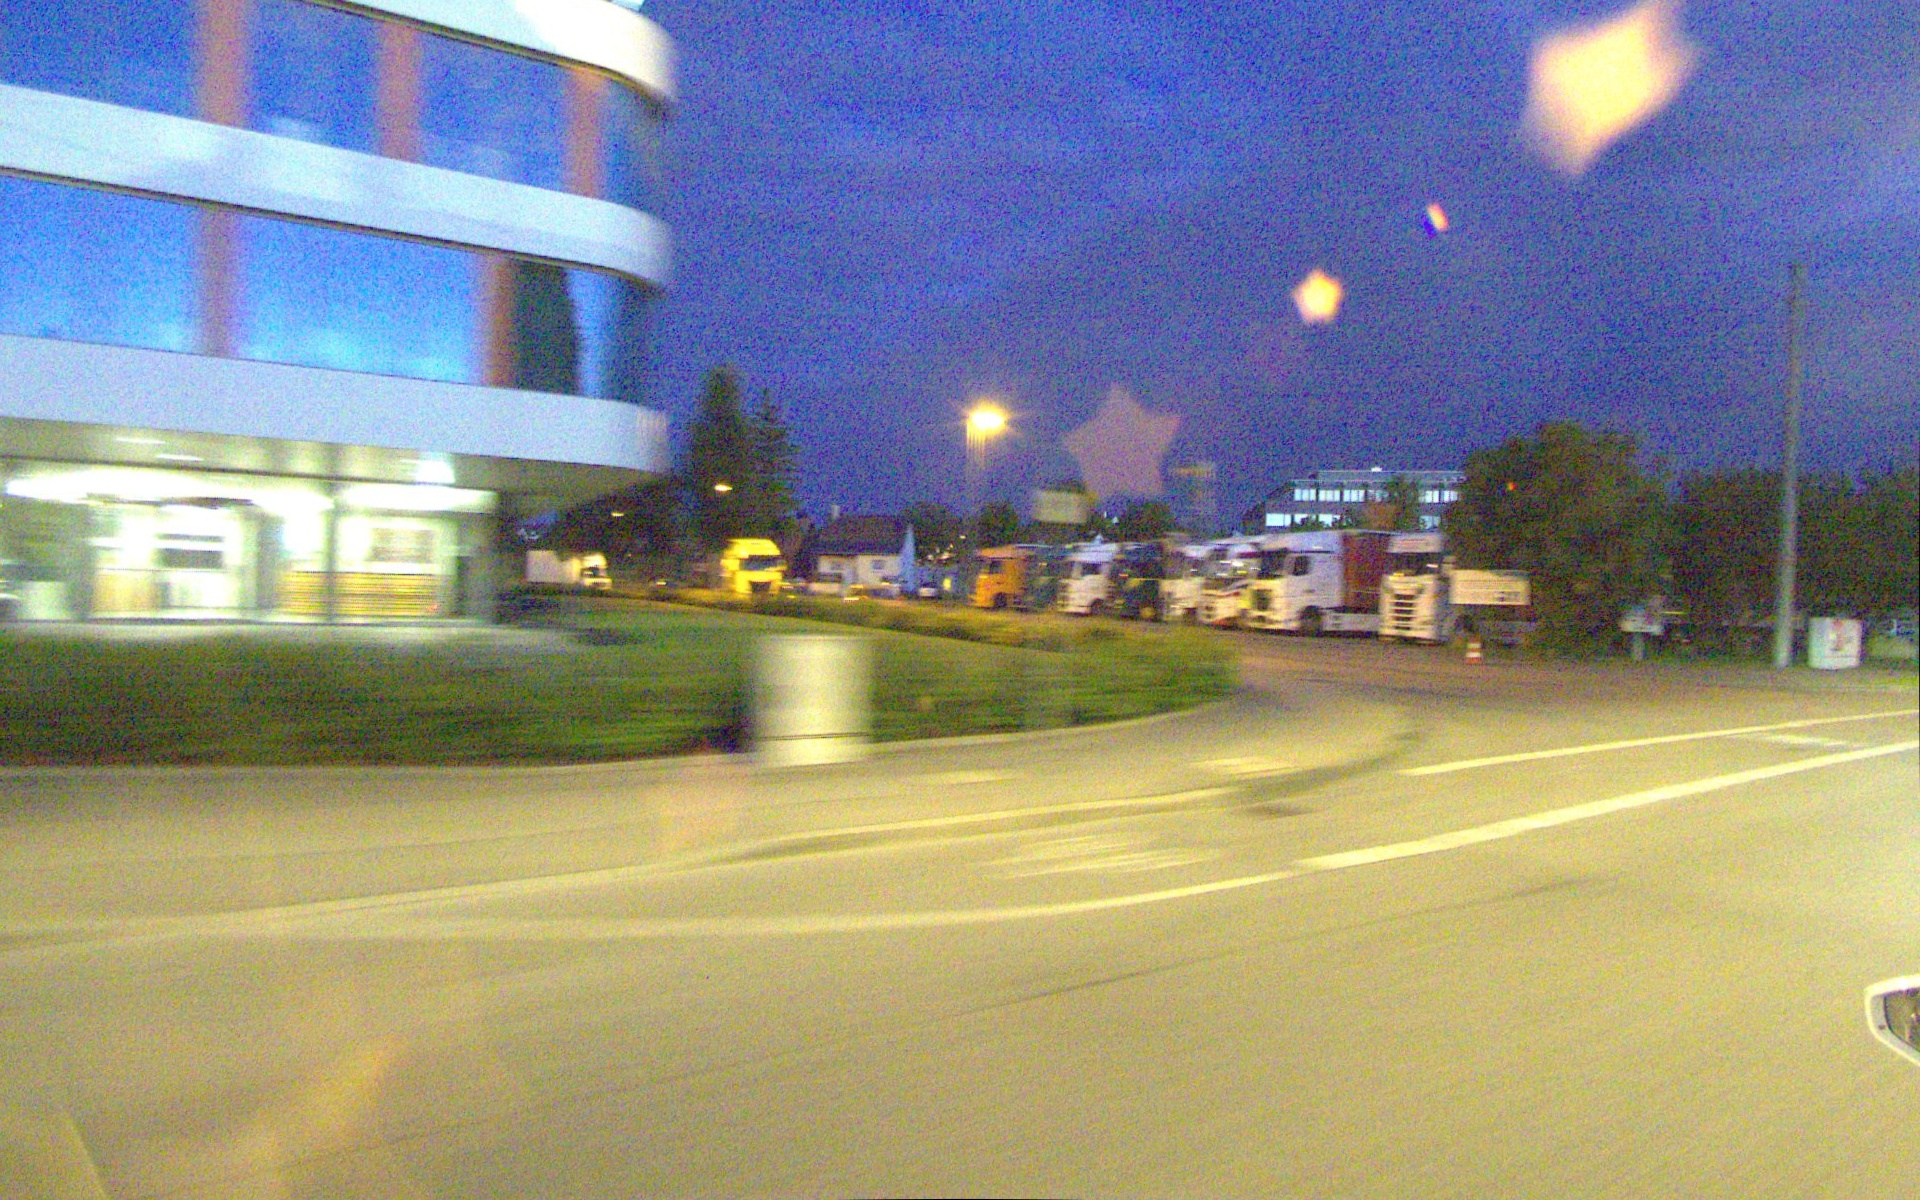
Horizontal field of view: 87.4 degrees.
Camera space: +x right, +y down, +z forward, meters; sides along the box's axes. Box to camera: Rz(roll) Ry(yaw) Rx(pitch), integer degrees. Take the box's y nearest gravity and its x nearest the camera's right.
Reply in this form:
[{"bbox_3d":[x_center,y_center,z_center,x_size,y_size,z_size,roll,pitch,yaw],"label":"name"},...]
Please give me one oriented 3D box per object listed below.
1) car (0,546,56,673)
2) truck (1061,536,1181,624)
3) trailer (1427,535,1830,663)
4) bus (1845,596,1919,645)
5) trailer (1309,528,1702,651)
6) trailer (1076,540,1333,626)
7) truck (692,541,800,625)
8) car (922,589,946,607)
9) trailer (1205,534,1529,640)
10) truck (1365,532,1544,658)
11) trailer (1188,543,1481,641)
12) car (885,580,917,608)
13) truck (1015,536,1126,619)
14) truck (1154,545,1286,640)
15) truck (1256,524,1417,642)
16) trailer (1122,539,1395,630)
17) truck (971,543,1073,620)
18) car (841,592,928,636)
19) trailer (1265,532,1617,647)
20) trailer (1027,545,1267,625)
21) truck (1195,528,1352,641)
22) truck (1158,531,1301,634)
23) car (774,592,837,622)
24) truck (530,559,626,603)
[{"bbox_3d":[-11.739,0.094,10.482,2.032,1.471,4.438,2,0,-23],"label":"car"},{"bbox_3d":[8.514,-1.051,53.592,5.470,4.416,3.060,2,1,-13],"label":"truck"},{"bbox_3d":[24.189,0.043,36.195,14.753,3.985,3.058,2,1,-15],"label":"trailer"},{"bbox_3d":[67.375,1.437,69.164,12.454,3.247,3.015,1,0,-13],"label":"bus"},{"bbox_3d":[21.622,-0.361,39.982,14.728,4.204,3.063,2,1,-8],"label":"trailer"},{"bbox_3d":[14.386,-0.942,59.095,14.743,4.416,3.060,2,1,-13],"label":"trailer"},{"bbox_3d":[-13.457,-0.955,62.013,3.532,4.611,12.508,1,0,-26],"label":"truck"},{"bbox_3d":[-2.009,-0.174,77.889,1.645,1.298,3.528,1,0,-5],"label":"car"},{"bbox_3d":[19.274,-0.561,47.679,14.733,4.416,3.062,2,1,-10],"label":"trailer"},{"bbox_3d":[16.729,-0.161,34.151,4.429,3.985,3.058,2,1,-15],"label":"truck"},{"bbox_3d":[19.282,-0.364,51.721,14.742,4.416,3.060,2,1,-13],"label":"trailer"},{"bbox_3d":[-4.511,-0.428,77.436,1.960,2.040,4.655,1,0,3],"label":"car"},{"bbox_3d":[6.255,-1.257,57.220,5.470,4.416,3.060,2,1,-13],"label":"truck"},{"bbox_3d":[12.945,-0.371,50.300,5.470,4.416,3.060,2,1,-13],"label":"truck"},{"bbox_3d":[14.492,-0.638,38.923,4.845,4.204,3.063,2,1,-8],"label":"truck"},{"bbox_3d":[16.498,-0.805,55.424,14.743,4.416,3.060,2,1,-13],"label":"trailer"},{"bbox_3d":[3.742,-1.119,61.257,5.470,4.416,3.060,2,1,-13],"label":"truck"},{"bbox_3d":[-3.123,0.534,40.634,1.870,1.573,3.965,2,1,-32],"label":"car"},{"bbox_3d":[21.023,-0.406,44.016,14.732,4.416,3.062,2,1,-10],"label":"trailer"},{"bbox_3d":[11.758,-0.893,63.110,14.743,4.416,3.060,2,1,-13],"label":"trailer"},{"bbox_3d":[13.237,-0.641,42.663,5.466,4.416,3.062,2,1,-10],"label":"truck"},{"bbox_3d":[12.393,-0.793,46.471,5.466,4.416,3.062,2,1,-10],"label":"truck"},{"bbox_3d":[-7.736,0.313,49.989,1.675,1.385,3.965,2,0,-32],"label":"car"},{"bbox_3d":[-33.675,-1.689,88.333,9.540,3.667,3.355,2,1,37],"label":"truck"}]
